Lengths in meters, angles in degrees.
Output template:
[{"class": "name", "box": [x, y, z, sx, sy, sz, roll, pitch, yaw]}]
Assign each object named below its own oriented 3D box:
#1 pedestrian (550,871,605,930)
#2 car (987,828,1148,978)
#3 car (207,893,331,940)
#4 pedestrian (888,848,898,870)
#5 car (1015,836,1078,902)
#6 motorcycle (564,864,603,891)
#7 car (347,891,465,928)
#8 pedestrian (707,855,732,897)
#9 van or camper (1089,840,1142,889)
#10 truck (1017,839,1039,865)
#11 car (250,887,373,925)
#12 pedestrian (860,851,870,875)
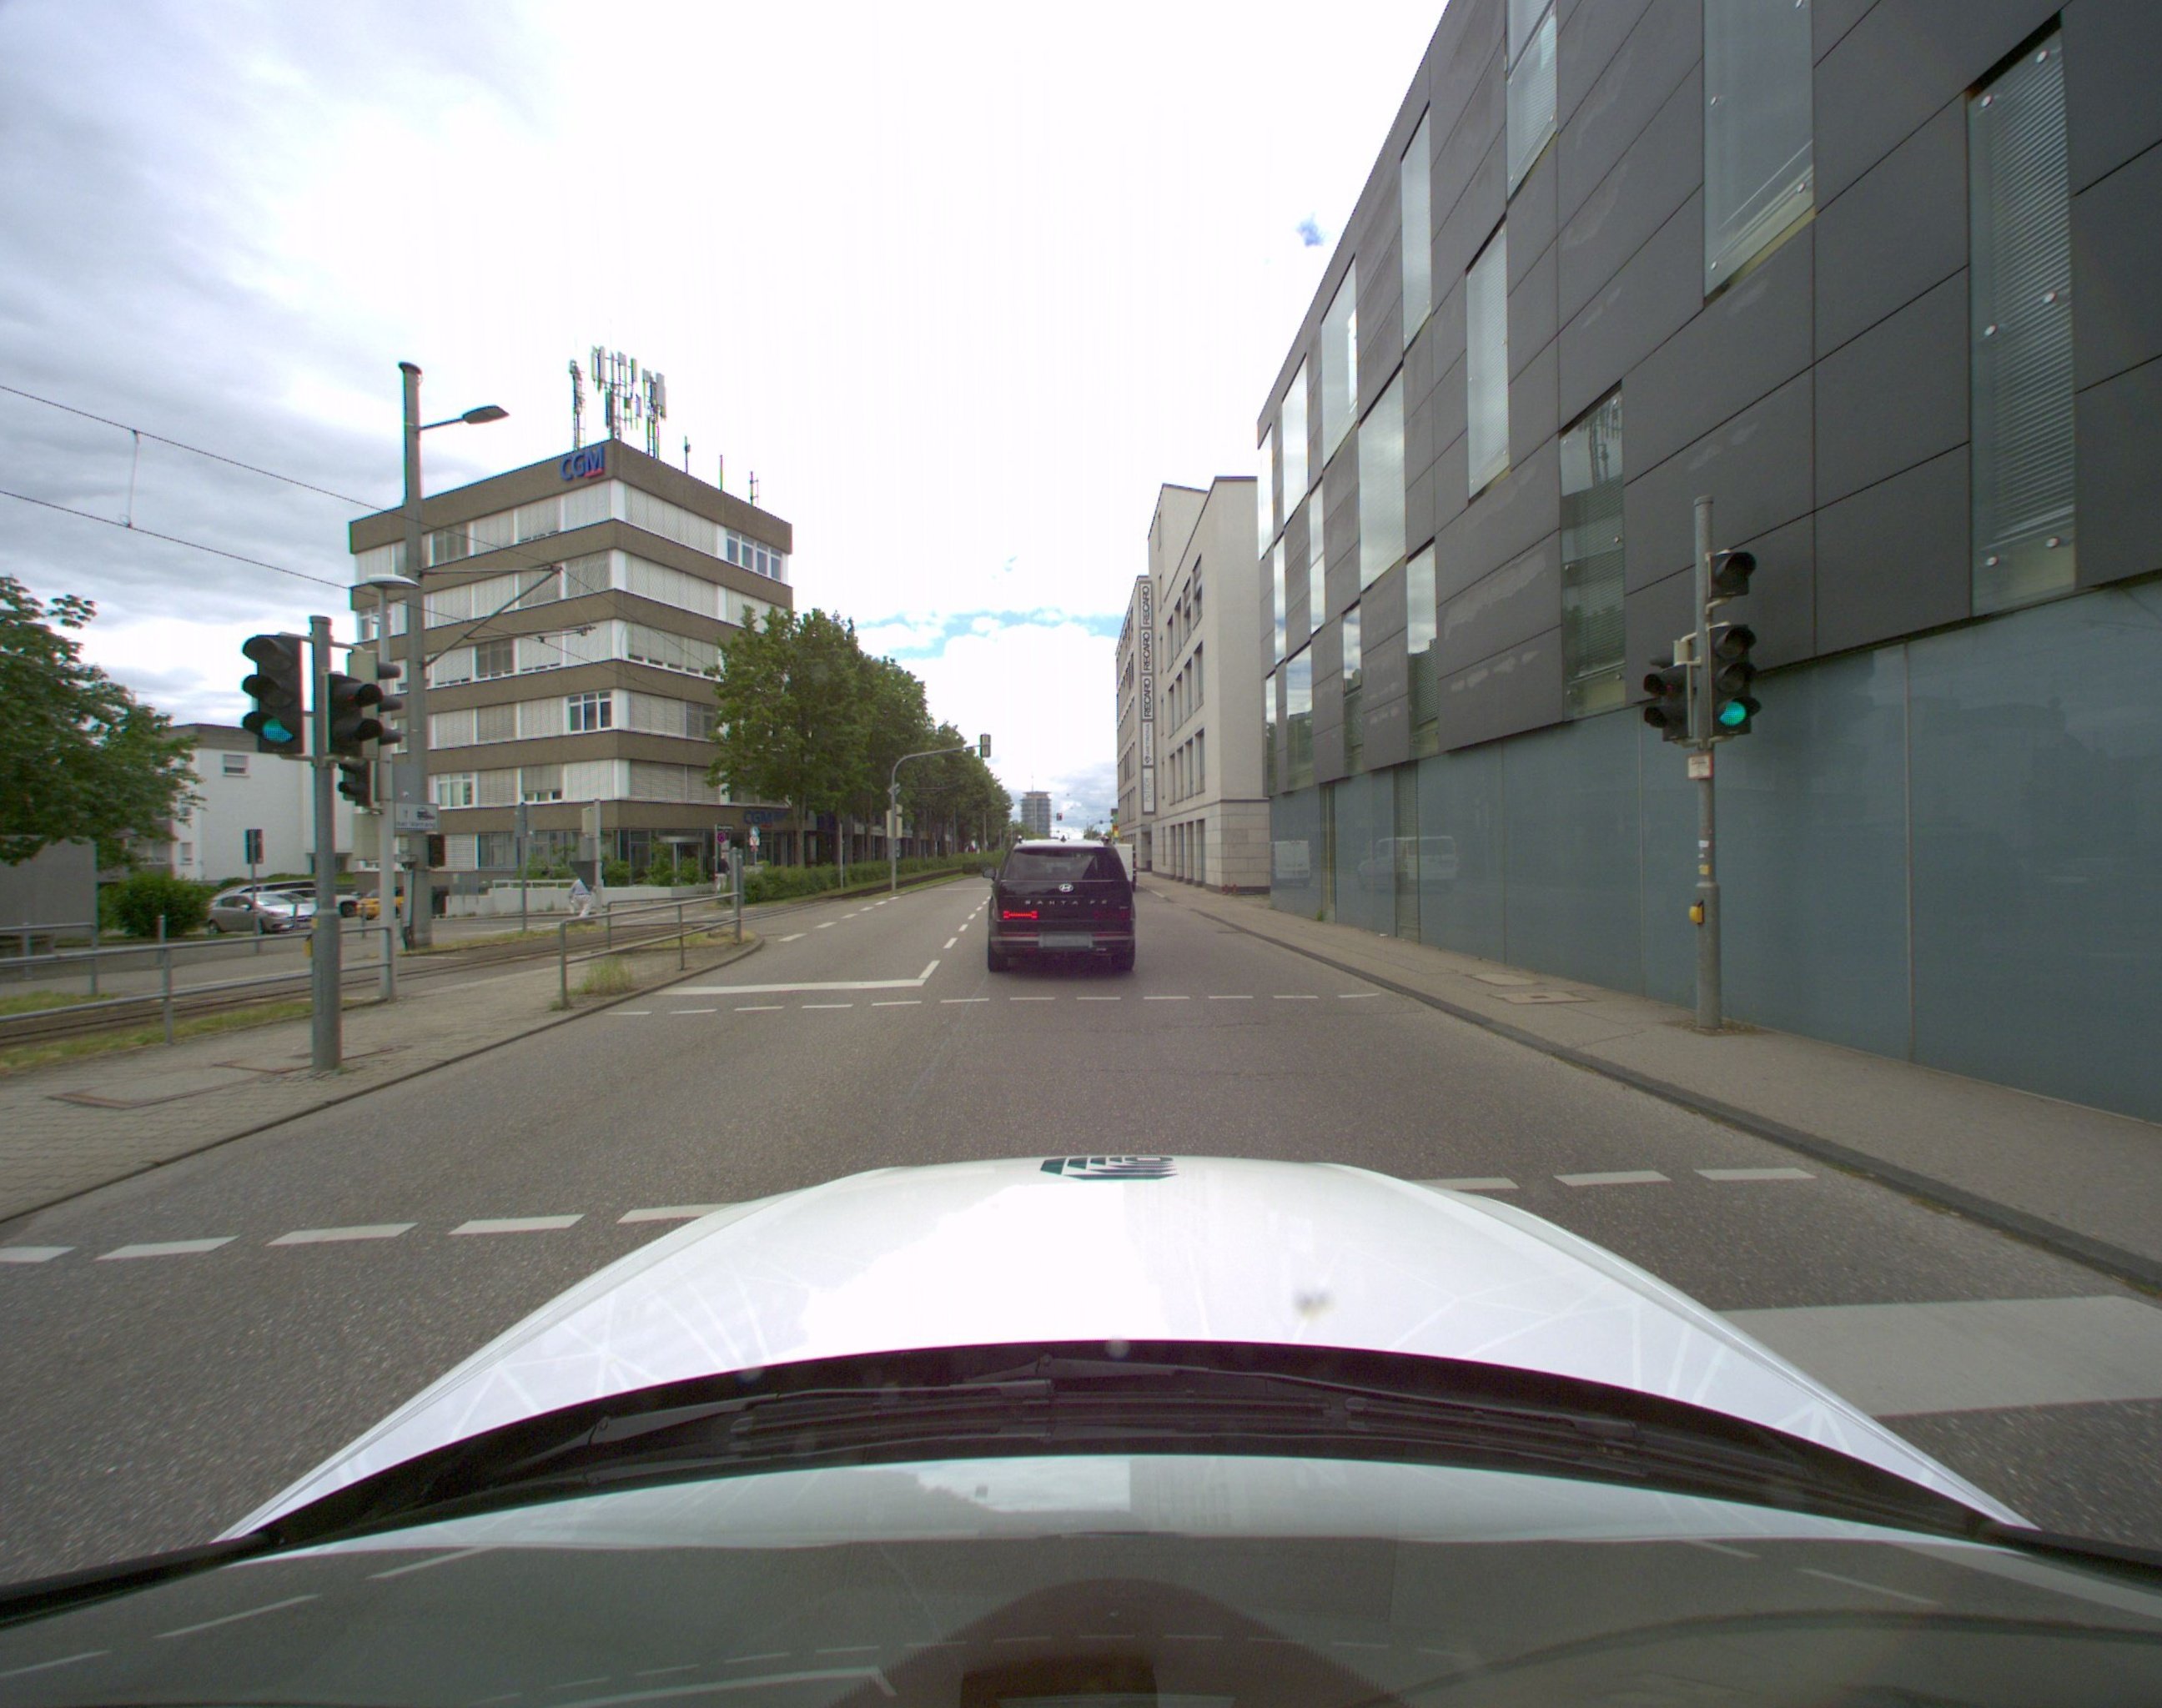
[{"class": "pedestrian", "box": [-13.678, 1.240, 22.143, 0.845, 1.526, 0.995, -2, 0, -3]}, {"class": "car", "box": [-0.366, 0.577, 11.801, 1.906, 1.749, 4.387, 0, 0, -6]}, {"class": "car", "box": [-27.332, 2.107, 27.412, 3.950, 1.359, 1.651, -3, -1, 25]}, {"class": "pedestrian", "box": [-16.406, 0.447, 71.149, 0.673, 1.908, 0.622, -2, 0, -1]}, {"class": "car", "box": [-1.244, 0.451, 27.403, 1.928, 1.994, 4.527, -1, 0, -5]}, {"class": "motorcycle", "box": [-23.555, 1.111, 38.566, 1.862, 1.199, 0.571, -1, 0, 23]}, {"class": "car", "box": [-32.280, 2.629, 39.092, 1.711, 1.425, 4.020, -3, -1, 19]}, {"class": "pedestrian", "box": [-15.319, 0.923, 34.540, 0.685, 1.705, 0.683, -2, 0, 1]}, {"class": "van or camper", "box": [1.401, 0.397, 34.385, 1.988, 1.915, 4.329, 0, 0, -1]}, {"class": "truck", "box": [-5.650, -0.235, 87.873, 2.160, 2.615, 5.791, -1, 0, -2]}, {"class": "car", "box": [-38.353, 2.543, 40.705, 1.834, 1.574, 4.020, -3, -1, 19]}, {"class": "pedestrian", "box": [-18.617, 0.775, 70.086, 0.679, 2.013, 0.570, -2, 0, -2]}]
